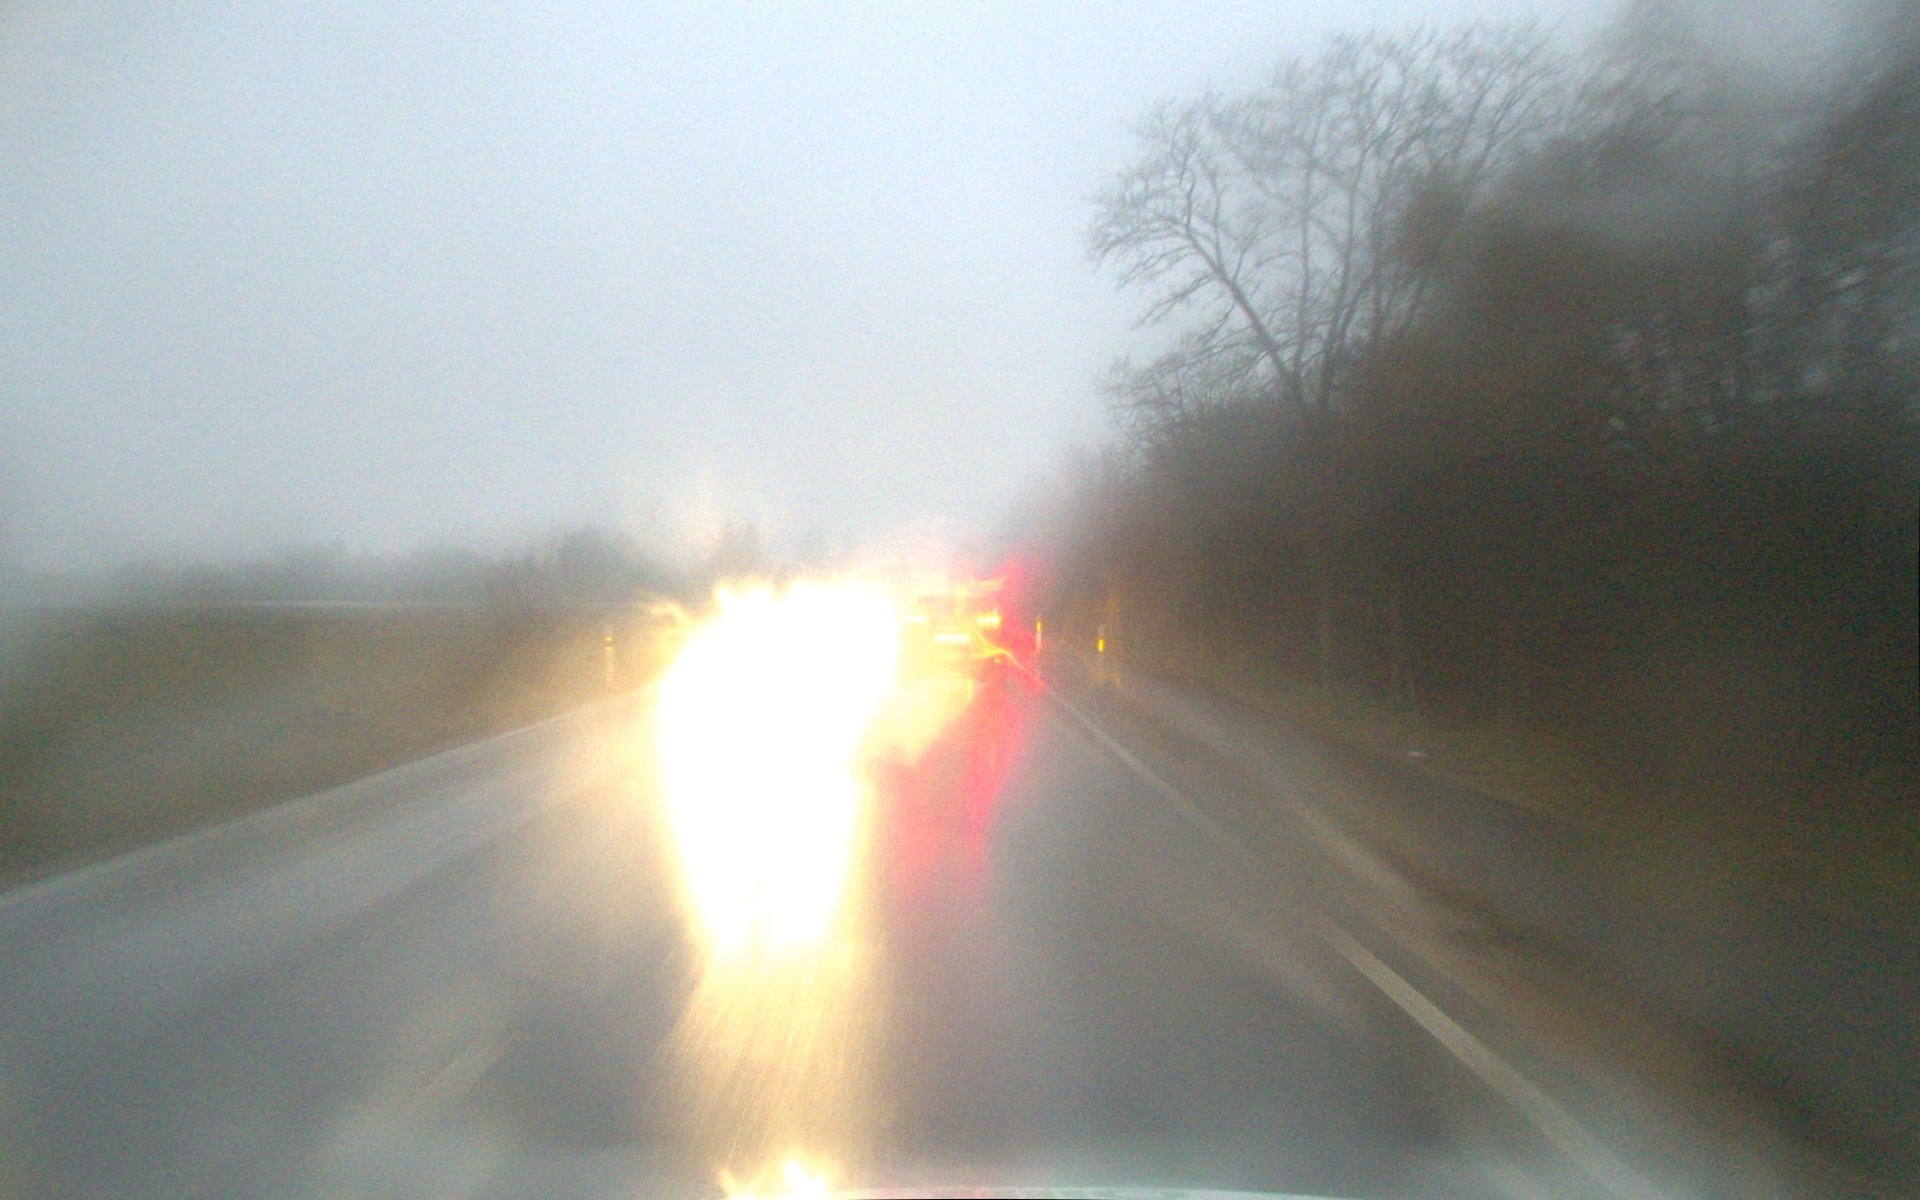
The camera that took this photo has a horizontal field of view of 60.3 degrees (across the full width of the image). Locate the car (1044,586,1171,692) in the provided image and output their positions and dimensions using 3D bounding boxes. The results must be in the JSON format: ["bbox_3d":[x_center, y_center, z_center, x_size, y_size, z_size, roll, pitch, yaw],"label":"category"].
[{"bbox_3d":[2.614,0.672,30.203,1.889,1.780,3.999,1,0,-1],"label":"car"}]

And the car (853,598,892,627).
[{"bbox_3d":[-4.991,0.711,94.916,1.953,1.489,4.351,-4,0,-1],"label":"car"}]

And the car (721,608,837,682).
[{"bbox_3d":[-3.661,0.885,34.104,1.953,1.396,4.397,1,0,-1],"label":"car"}]

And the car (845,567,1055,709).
[{"bbox_3d":[-0.176,0.544,28.032,3.100,2.071,6.850,-1,0,-1],"label":"car"}]
